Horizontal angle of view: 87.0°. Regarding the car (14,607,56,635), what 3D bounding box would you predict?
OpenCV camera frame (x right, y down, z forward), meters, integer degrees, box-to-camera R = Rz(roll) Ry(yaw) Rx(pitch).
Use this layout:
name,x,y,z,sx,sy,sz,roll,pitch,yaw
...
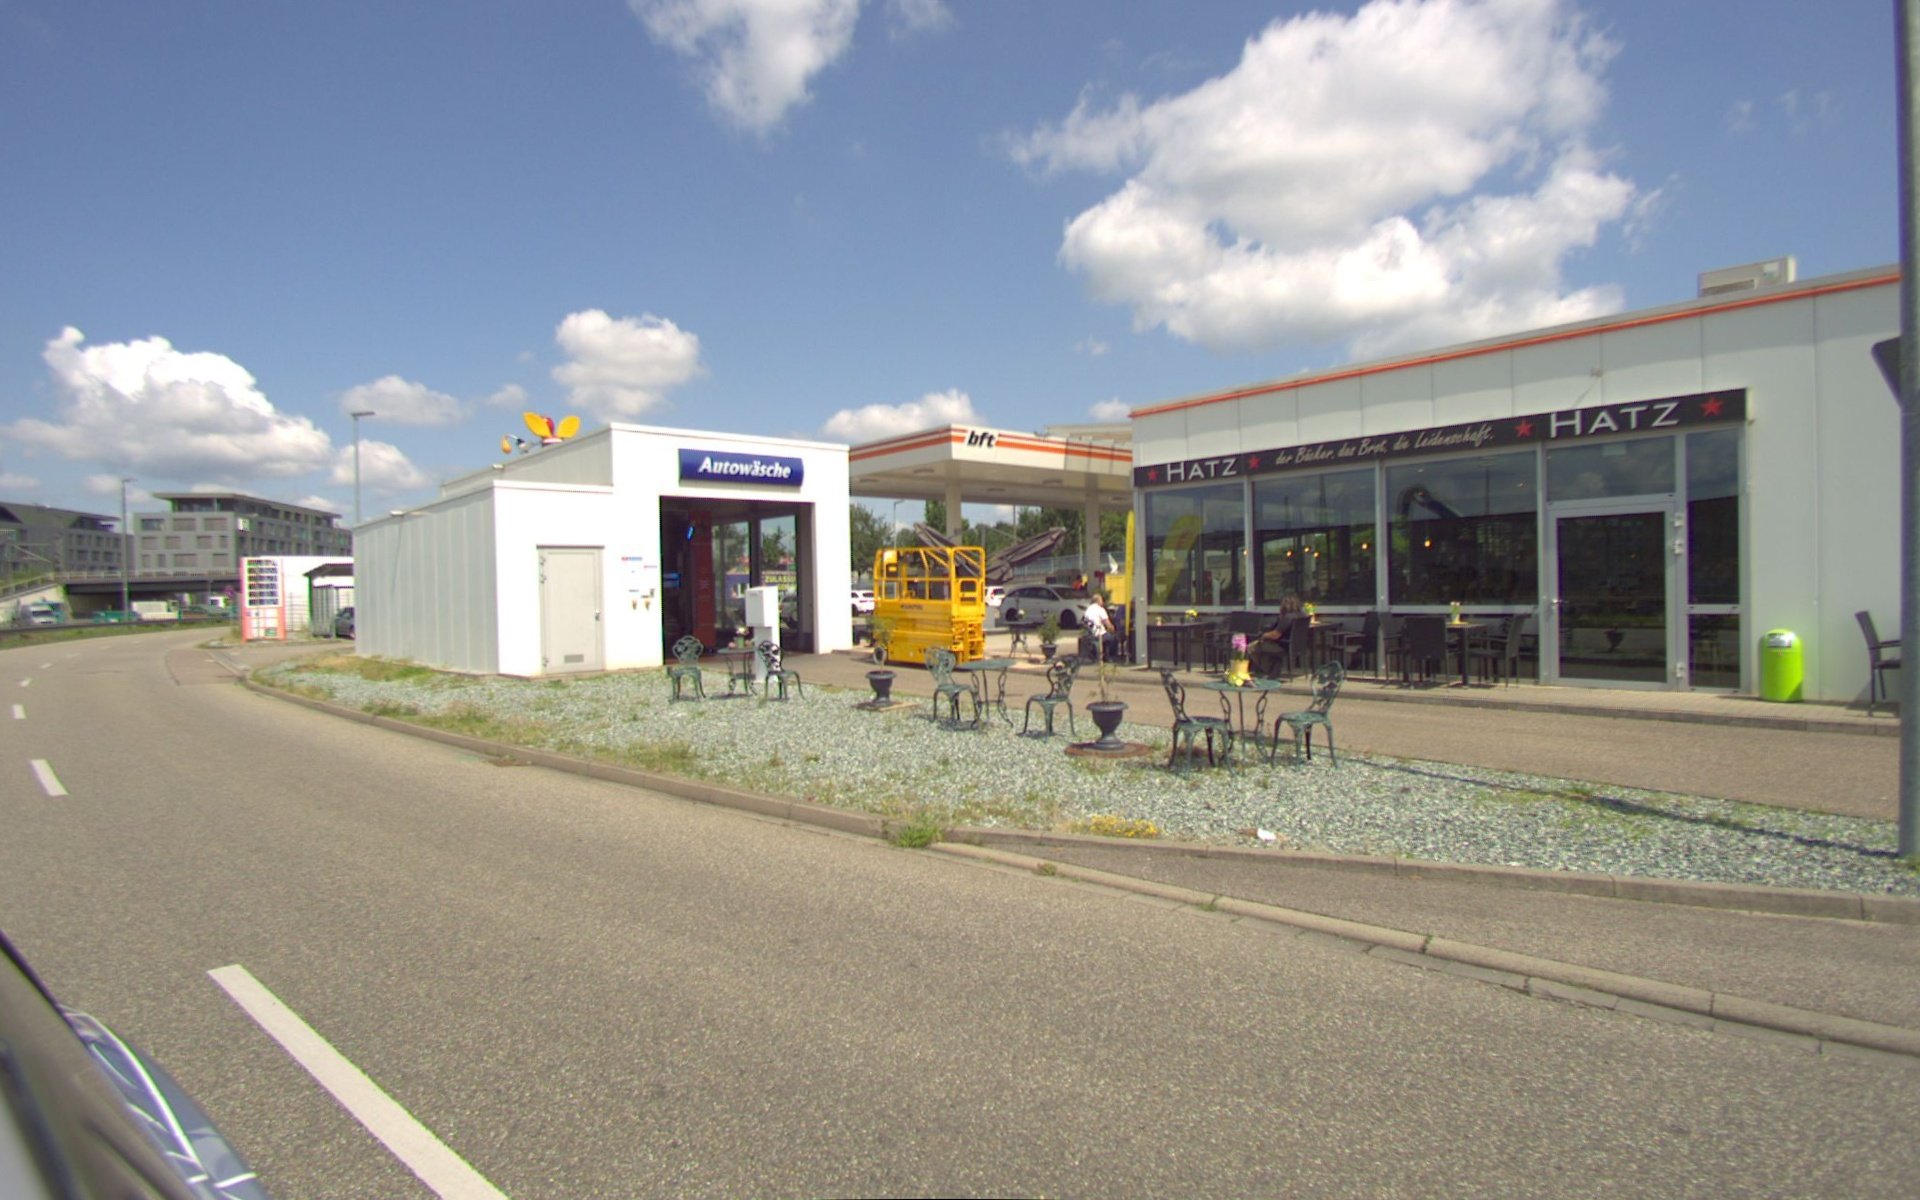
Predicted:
name,x,y,z,sx,sy,sz,roll,pitch,yaw
car,-91.533,2.064,100.087,5.874,2.545,2.041,-1,2,38

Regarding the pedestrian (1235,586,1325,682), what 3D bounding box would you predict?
name,x,y,z,sx,sy,sz,roll,pitch,yaw
pedestrian,4.422,0.455,14.008,0.744,1.266,0.900,-2,1,-41

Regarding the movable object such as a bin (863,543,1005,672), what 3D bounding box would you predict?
name,x,y,z,sx,sy,sz,roll,pitch,yaw
movable object such as a bin,-0.508,0.094,18.271,1.050,2.168,2.707,-2,2,-42

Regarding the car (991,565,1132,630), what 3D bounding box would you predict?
name,x,y,z,sx,sy,sz,roll,pitch,yaw
car,3.346,-0.075,34.164,1.968,2.029,4.676,-1,0,-40

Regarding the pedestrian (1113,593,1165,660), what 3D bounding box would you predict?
name,x,y,z,sx,sy,sz,roll,pitch,yaw
pedestrian,3.290,0.479,18.655,0.607,1.182,0.758,-2,0,-20

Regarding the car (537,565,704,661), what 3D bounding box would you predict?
name,x,y,z,sx,sy,sz,roll,pitch,yaw
car,-8.446,0.289,24.929,1.970,2.125,5.015,-1,0,-43

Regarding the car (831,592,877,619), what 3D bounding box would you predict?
name,x,y,z,sx,sy,sz,roll,pitch,yaw
car,-6.632,0.322,63.132,1.253,1.637,3.127,-1,0,-43

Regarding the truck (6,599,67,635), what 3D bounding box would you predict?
name,x,y,z,sx,sy,sz,roll,pitch,yaw
truck,-99.140,1.821,108.590,6.857,3.672,2.631,-1,2,28

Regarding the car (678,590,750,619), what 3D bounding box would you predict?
name,x,y,z,sx,sy,sz,roll,pitch,yaw
car,-14.032,0.259,57.525,1.970,1.564,4.602,-1,0,-43

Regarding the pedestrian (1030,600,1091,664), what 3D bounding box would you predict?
name,x,y,z,sx,sy,sz,roll,pitch,yaw
pedestrian,1.839,0.573,18.552,0.809,1.119,0.756,-2,0,-43

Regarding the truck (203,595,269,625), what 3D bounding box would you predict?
name,x,y,z,sx,sy,sz,roll,pitch,yaw
truck,-77.664,1.023,108.665,5.423,3.121,2.005,-1,0,-12

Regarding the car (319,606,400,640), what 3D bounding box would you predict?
name,x,y,z,sx,sy,sz,roll,pitch,yaw
car,-27.088,1.004,45.599,4.792,1.387,1.896,0,2,44

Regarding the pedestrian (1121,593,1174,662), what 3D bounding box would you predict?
name,x,y,z,sx,sy,sz,roll,pitch,yaw
pedestrian,3.328,0.472,17.998,0.607,1.182,0.758,-2,0,-20

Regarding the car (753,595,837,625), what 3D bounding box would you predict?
name,x,y,z,sx,sy,sz,roll,pitch,yaw
car,-8.949,0.530,55.340,1.920,1.500,4.475,-1,0,37

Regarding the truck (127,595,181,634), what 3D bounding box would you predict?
name,x,y,z,sx,sy,sz,roll,pitch,yaw
truck,-74.456,1.292,93.438,8.118,3.445,2.952,0,0,45

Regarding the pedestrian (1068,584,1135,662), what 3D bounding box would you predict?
name,x,y,z,sx,sy,sz,roll,pitch,yaw
pedestrian,2.504,0.401,17.846,0.862,1.317,0.931,-1,0,30

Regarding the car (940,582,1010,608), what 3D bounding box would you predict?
name,x,y,z,sx,sy,sz,roll,pitch,yaw
car,0.967,-0.296,65.649,4.313,1.615,1.972,0,0,42
